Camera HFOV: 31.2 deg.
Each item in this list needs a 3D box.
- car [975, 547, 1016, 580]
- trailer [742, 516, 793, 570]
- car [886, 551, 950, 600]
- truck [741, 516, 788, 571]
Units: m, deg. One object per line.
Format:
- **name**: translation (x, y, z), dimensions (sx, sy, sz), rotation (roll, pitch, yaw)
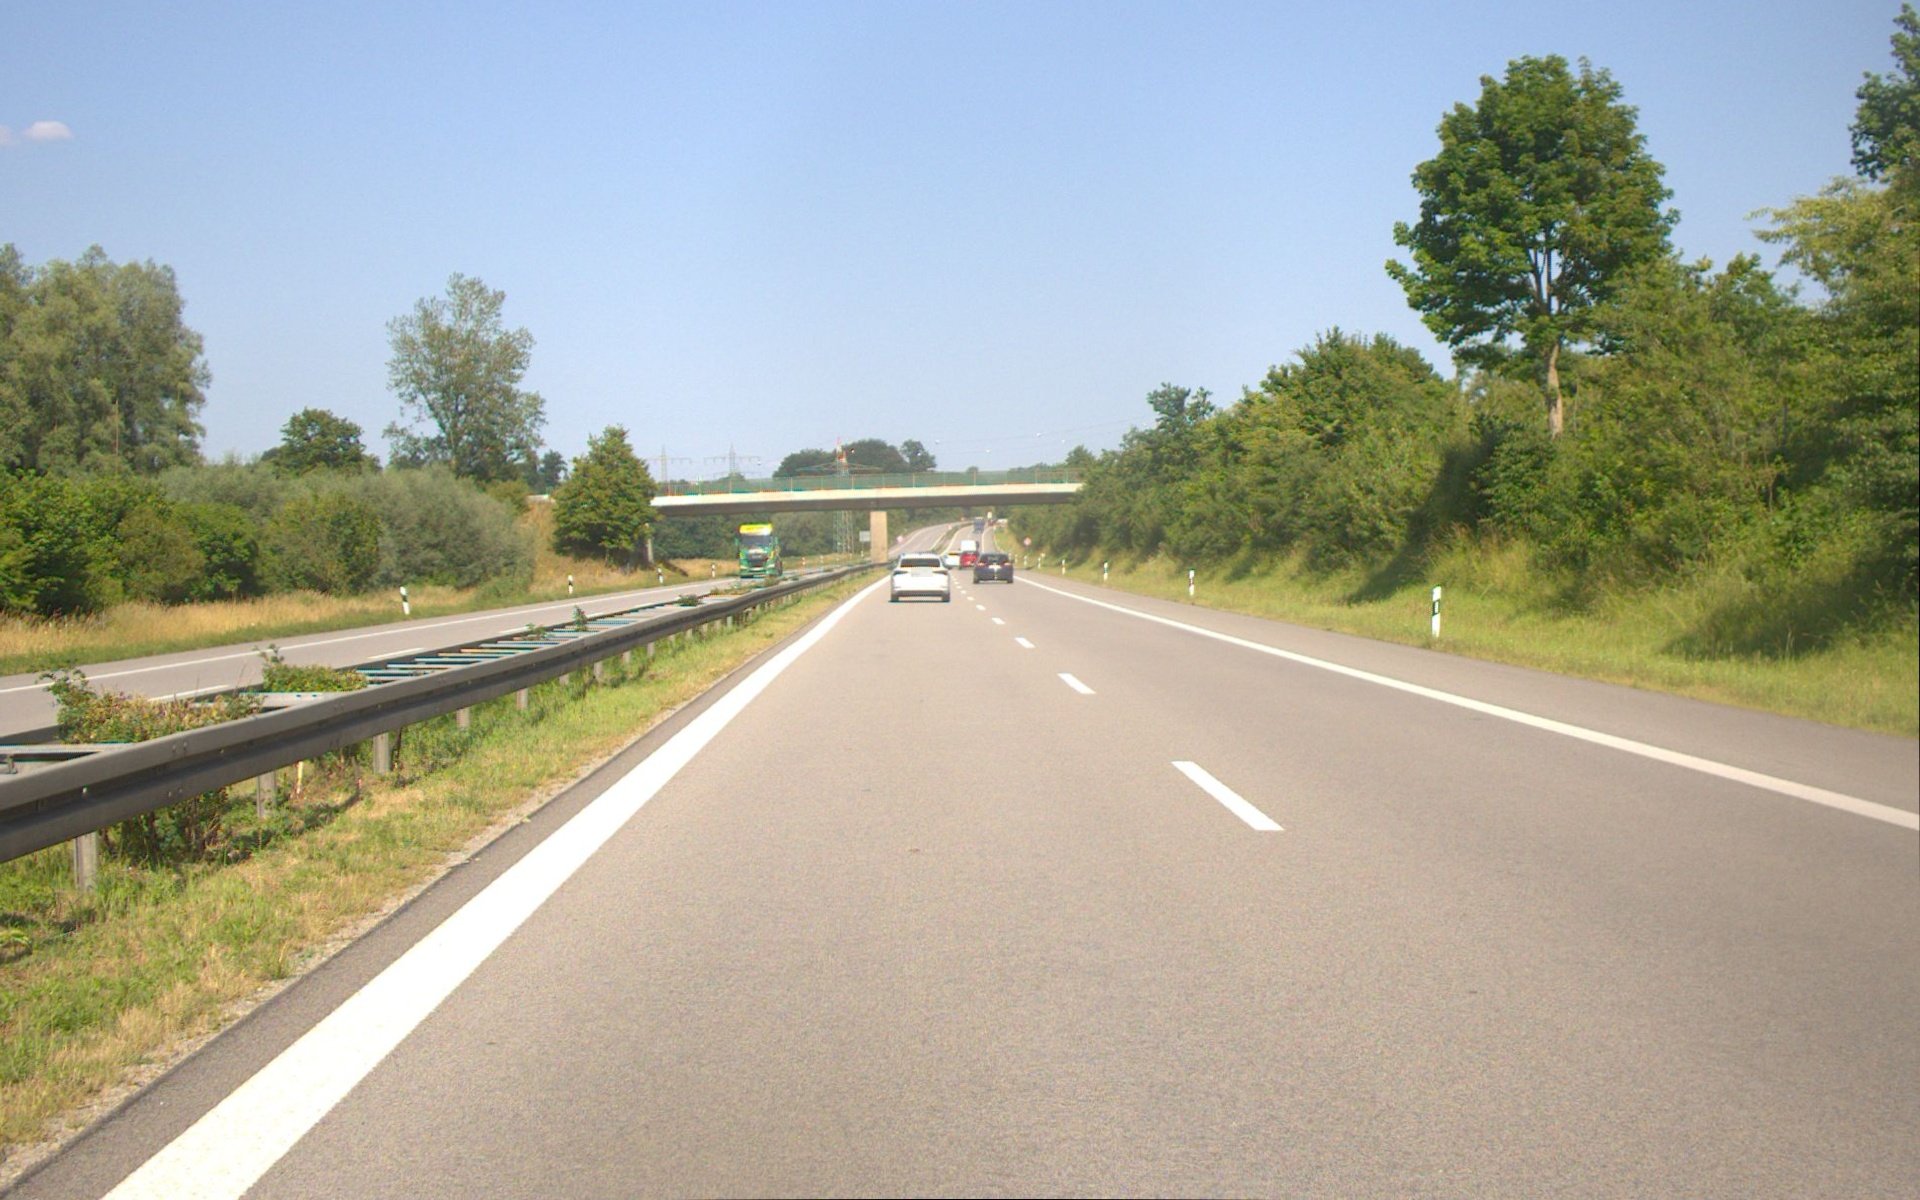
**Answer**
- **car**: translation (1.647, -1.732, 162.309), dimensions (1.843, 1.515, 4.000), rotation (1, 1, -1)
- **trailer**: translation (-13.861, -4.096, 248.445), dimensions (2.980, 3.718, 12.420), rotation (-2, 1, -1)
- **car**: translation (-1.255, -0.733, 103.127), dimensions (1.843, 1.411, 4.000), rotation (1, 1, -1)
- **truck**: translation (-13.718, -3.976, 241.324), dimensions (2.955, 3.718, 5.569), rotation (-2, 1, -1)
